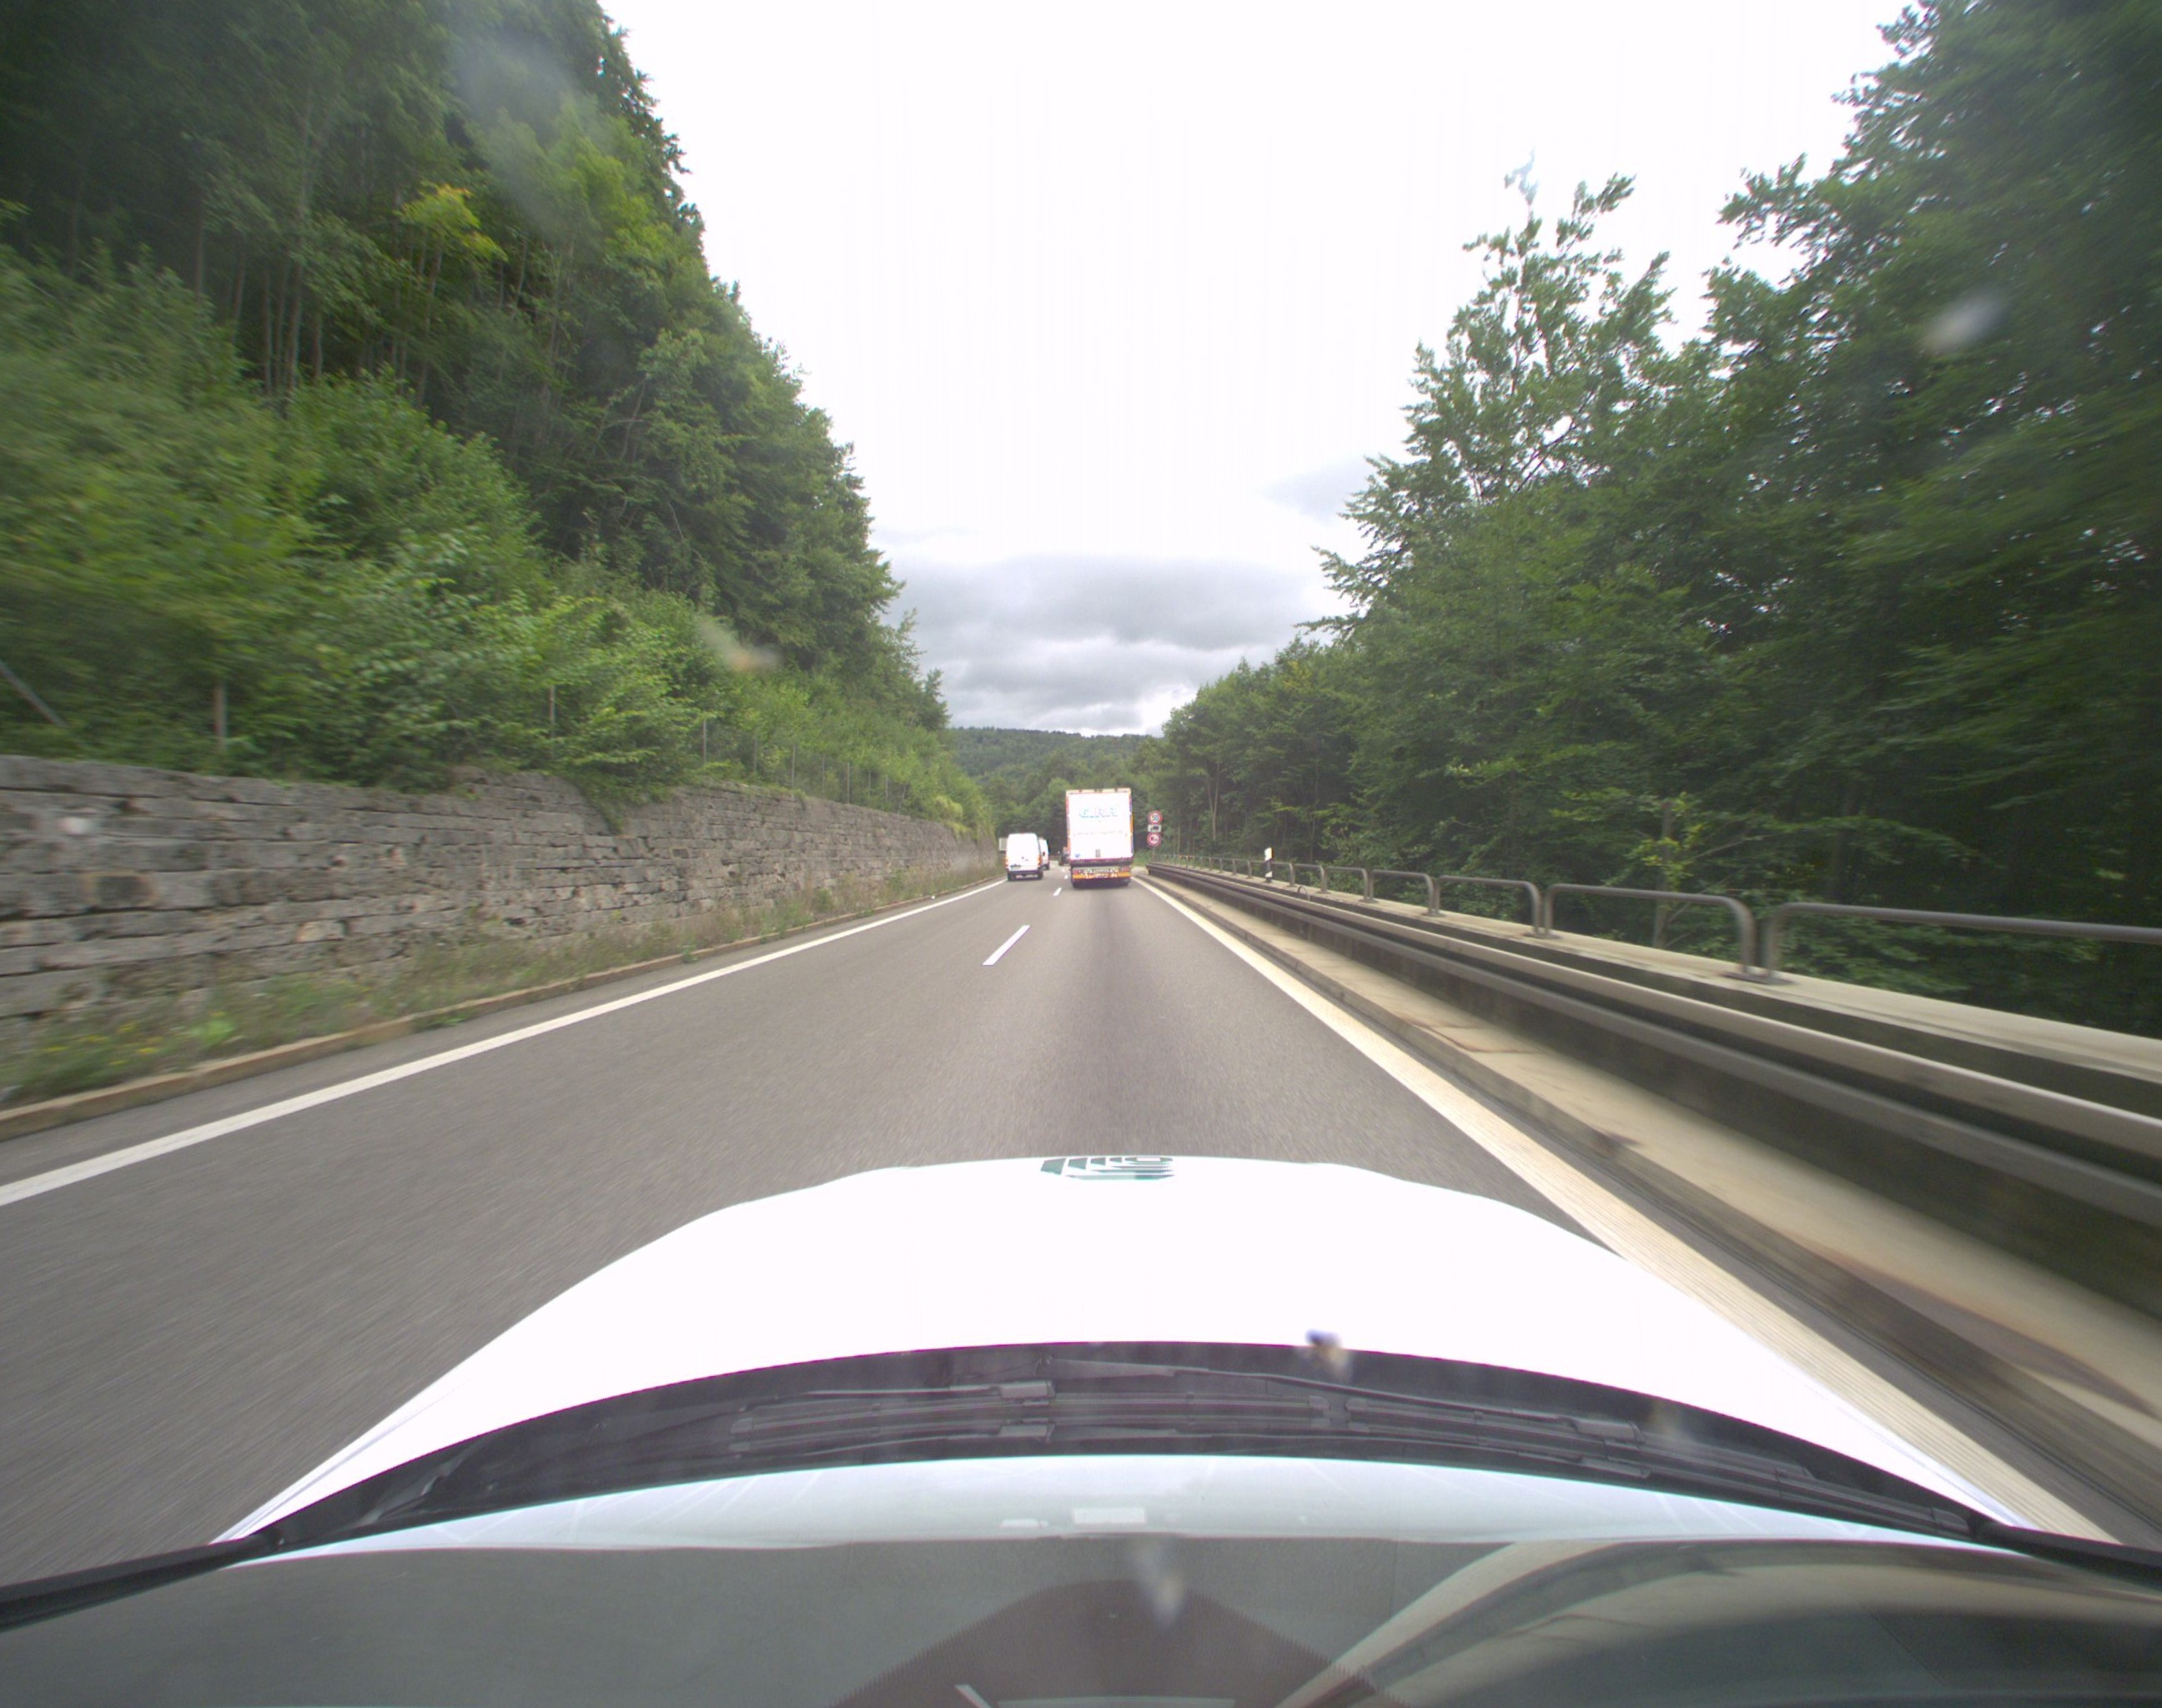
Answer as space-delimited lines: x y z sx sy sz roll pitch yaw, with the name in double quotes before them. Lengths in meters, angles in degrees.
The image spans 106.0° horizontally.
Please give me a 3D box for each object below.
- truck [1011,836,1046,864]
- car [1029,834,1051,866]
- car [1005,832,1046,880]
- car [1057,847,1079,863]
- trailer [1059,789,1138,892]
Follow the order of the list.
"truck" -8.216 -0.646 124.763 3.061 3.985 13.639 -3 1 -13
"car" -3.715 -0.356 72.869 1.936 2.672 5.983 0 0 -4
"car" -3.244 0.072 48.900 1.983 2.672 6.934 0 0 0
"car" -1.395 0.130 86.371 1.991 1.662 3.993 0 0 -5
"trailer" 0.718 -0.694 37.686 3.047 3.985 12.137 0 1 0
